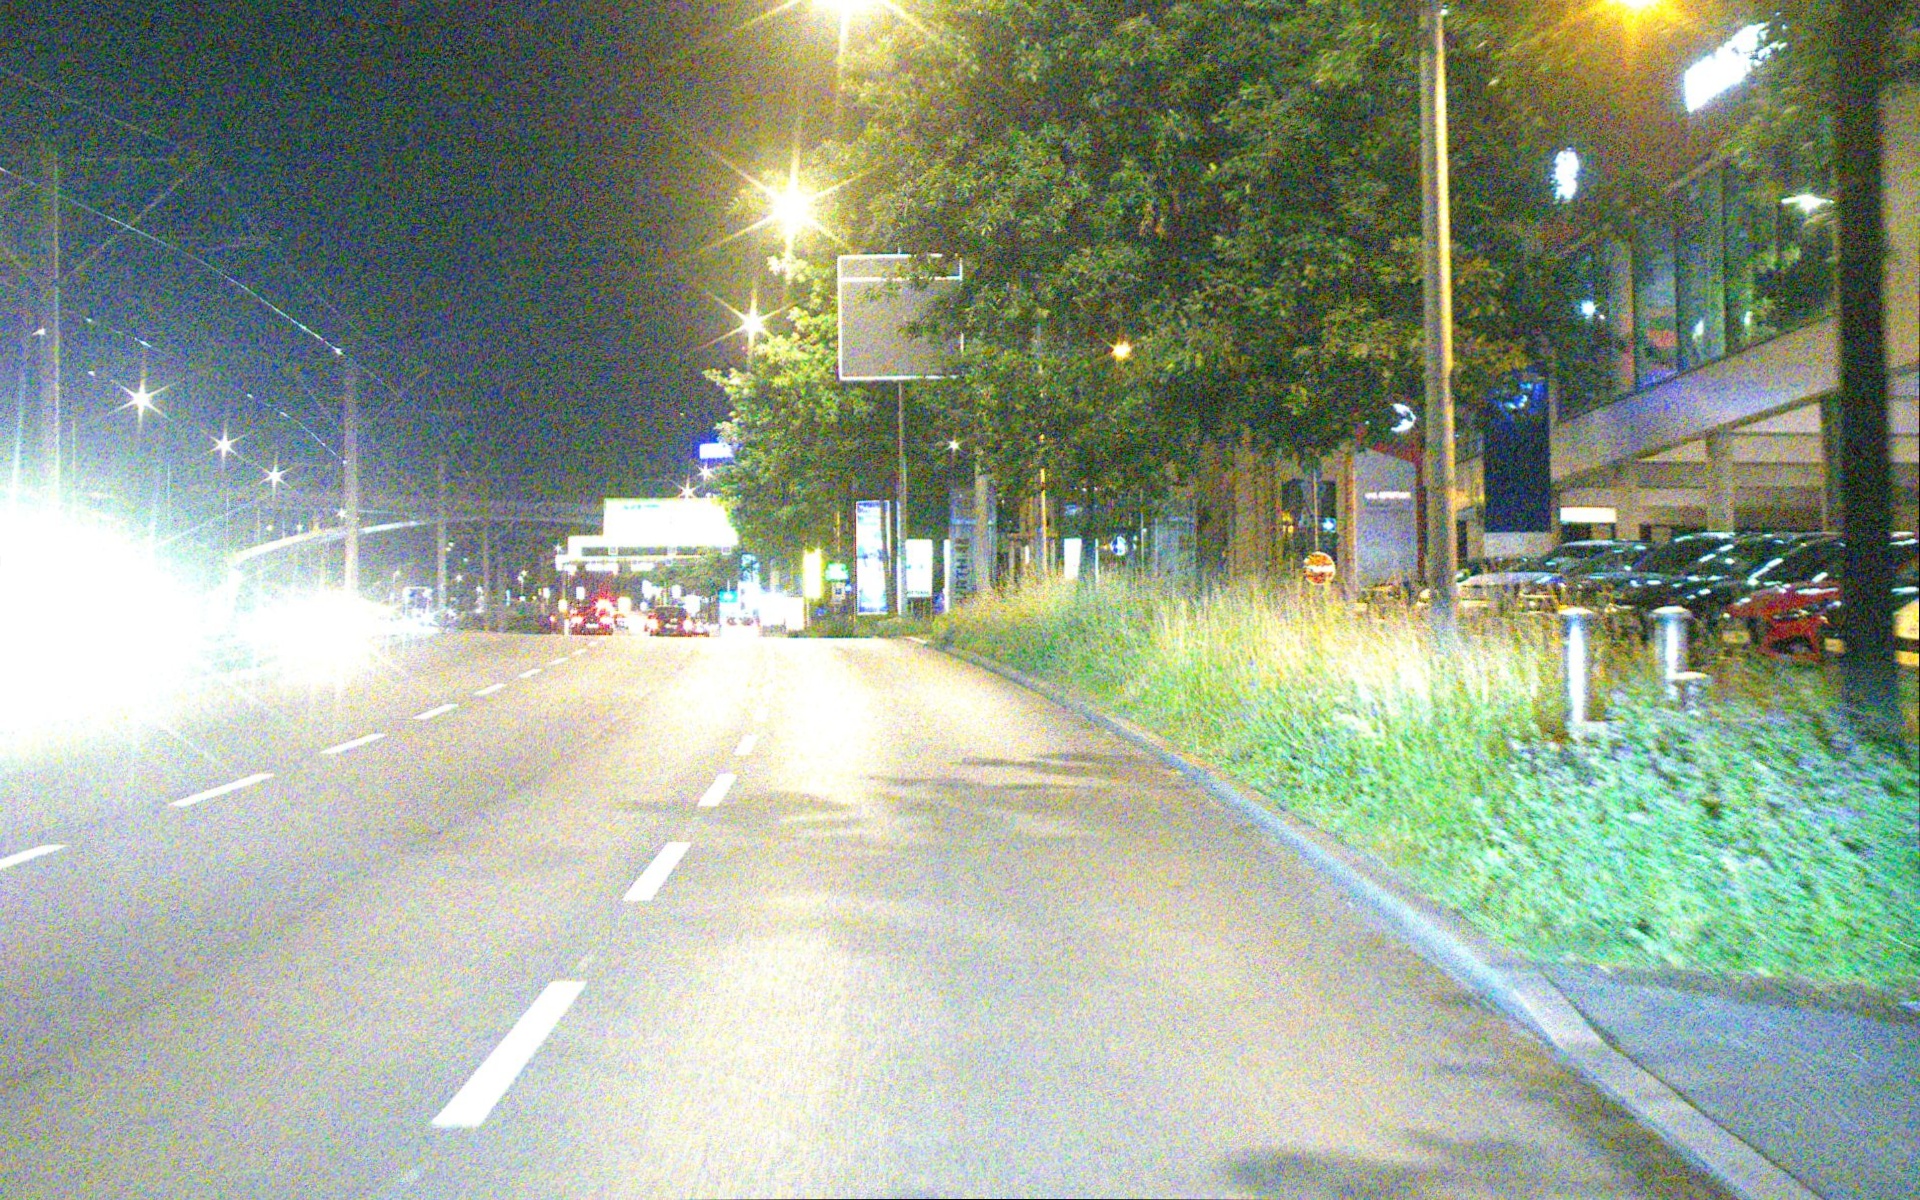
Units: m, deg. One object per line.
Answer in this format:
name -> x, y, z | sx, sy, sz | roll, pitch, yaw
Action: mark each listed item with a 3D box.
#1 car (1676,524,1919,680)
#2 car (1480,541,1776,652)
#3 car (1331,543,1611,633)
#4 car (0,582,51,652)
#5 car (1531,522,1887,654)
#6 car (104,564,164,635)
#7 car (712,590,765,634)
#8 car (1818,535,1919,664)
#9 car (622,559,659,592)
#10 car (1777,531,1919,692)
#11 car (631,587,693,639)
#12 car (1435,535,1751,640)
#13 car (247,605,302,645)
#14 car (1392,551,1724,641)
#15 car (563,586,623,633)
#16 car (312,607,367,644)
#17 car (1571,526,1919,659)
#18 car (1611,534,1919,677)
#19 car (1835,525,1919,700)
car -> 9.571, -0.047, 34.992 | 4.022, 1.369, 1.826 | -4, 1, -17
car -> 8.959, -0.041, 46.093 | 3.601, 1.428, 1.680 | 0, 0, -25
car -> 8.371, -0.186, 56.444 | 4.120, 1.415, 1.877 | 1, 0, -15
car -> -23.947, 0.409, 85.259 | 1.779, 1.708, 4.227 | 0, 0, -2
car -> 9.449, -0.158, 43.384 | 3.986, 1.465, 1.833 | -3, 1, -21
car -> -33.144, 0.019, 137.878 | 2.145, 2.662, 6.964 | -3, 0, -14
car -> -10.700, 0.561, 166.296 | 2.427, 2.106, 4.826 | 0, 0, -2
car -> 14.455, -0.036, 49.333 | 1.584, 1.790, 3.868 | 0, -3, -42
car -> -18.386, -1.389, 197.724 | 1.887, 1.853, 4.000 | 0, 0, -2
car -> 9.872, -0.003, 32.421 | 3.766, 1.374, 1.717 | -5, 1, -15
car -> -12.436, 0.532, 143.913 | 2.356, 2.122, 4.826 | 0, 0, -2
car -> 8.961, -0.201, 48.736 | 3.986, 1.419, 1.910 | 0, 1, -19
car -> -29.631, 1.060, 148.599 | 1.993, 1.589, 4.001 | -2, 1, -7
car -> 8.951, -0.086, 51.435 | 4.628, 1.260, 1.948 | -1, 1, -26
car -> -15.679, 0.395, 147.078 | 2.262, 2.007, 4.826 | 0, 0, -2
car -> -25.484, 1.029, 141.305 | 1.620, 1.435, 4.338 | -2, 0, -3
car -> 9.433, -0.117, 40.621 | 3.986, 1.387, 1.827 | -2, 2, -24
car -> 9.481, 0.028, 38.193 | 3.986, 1.376, 1.809 | -3, 1, -12
car -> 9.767, 0.009, 29.829 | 3.801, 1.448, 1.718 | -3, 1, -15
